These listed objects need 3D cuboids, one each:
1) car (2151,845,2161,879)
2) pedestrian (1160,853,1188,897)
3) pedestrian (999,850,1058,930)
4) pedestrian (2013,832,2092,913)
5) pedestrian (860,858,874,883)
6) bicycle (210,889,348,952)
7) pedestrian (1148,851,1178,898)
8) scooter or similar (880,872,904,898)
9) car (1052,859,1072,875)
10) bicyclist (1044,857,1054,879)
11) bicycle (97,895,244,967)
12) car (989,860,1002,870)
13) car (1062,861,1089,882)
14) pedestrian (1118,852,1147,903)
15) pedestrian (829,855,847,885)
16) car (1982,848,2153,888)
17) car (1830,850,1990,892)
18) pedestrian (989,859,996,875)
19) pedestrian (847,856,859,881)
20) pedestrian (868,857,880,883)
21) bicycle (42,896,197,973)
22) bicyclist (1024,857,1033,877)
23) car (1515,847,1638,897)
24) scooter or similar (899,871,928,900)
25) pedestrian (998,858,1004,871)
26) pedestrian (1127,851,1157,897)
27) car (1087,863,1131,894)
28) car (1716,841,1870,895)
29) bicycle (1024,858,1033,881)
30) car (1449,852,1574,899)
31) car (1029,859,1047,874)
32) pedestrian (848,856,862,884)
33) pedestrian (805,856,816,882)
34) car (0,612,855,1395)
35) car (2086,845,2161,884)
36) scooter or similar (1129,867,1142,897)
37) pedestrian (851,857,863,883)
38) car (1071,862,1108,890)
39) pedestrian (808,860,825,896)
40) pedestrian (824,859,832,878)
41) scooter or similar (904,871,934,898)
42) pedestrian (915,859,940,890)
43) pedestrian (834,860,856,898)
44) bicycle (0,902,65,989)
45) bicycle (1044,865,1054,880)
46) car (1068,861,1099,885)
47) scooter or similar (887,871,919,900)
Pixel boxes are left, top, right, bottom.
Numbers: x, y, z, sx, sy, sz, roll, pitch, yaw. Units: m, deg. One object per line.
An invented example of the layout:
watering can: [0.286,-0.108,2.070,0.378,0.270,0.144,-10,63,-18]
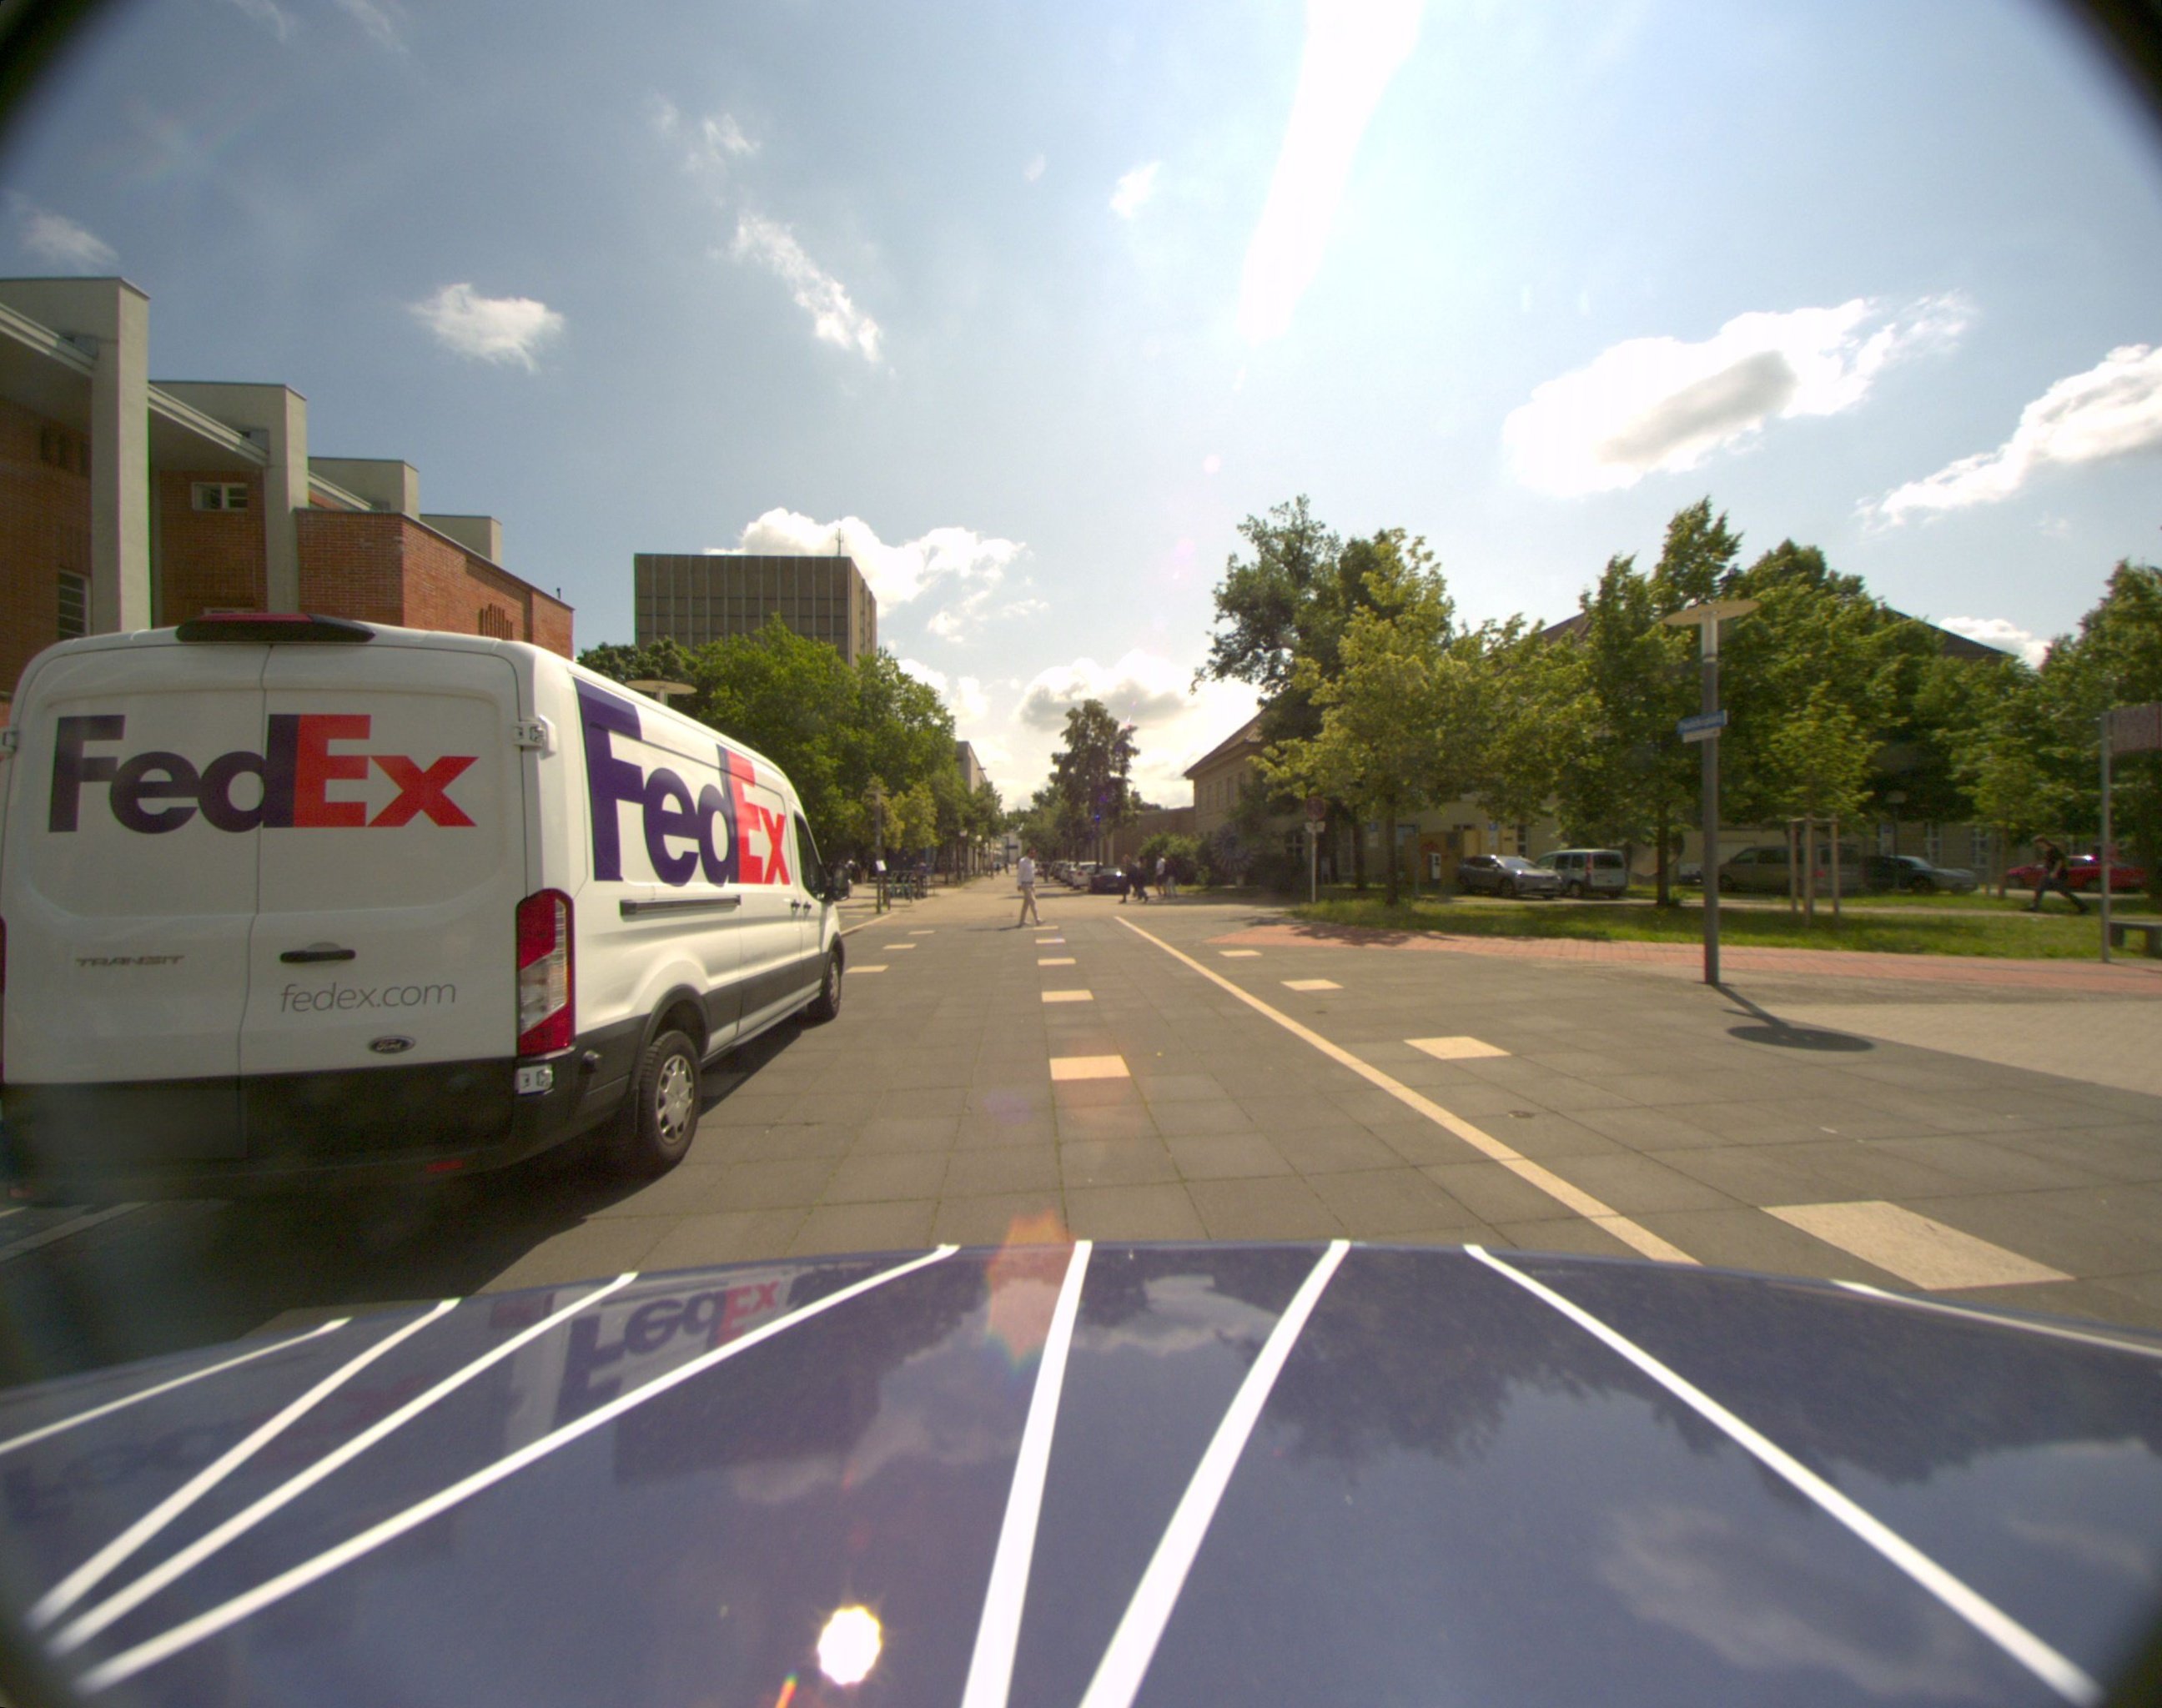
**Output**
car: [50.044,0.382,32.795,1.812,1.533,4.122,0,1,-5]
pedestrian: [3.659,0.828,29.910,0.970,1.706,0.559,0,0,26]
pedestrian: [-1.234,0.827,17.988,1.022,1.837,0.918,1,0,27]
pedestrian: [22.331,0.408,17.491,0.870,1.778,0.637,1,6,32]
pedestrian: [-14.126,1.072,50.145,0.752,1.663,0.844,0,0,-26]
bicycle: [-14.893,1.233,14.139,1.935,1.103,0.456,0,0,-6]
pedestrian: [3.134,0.786,29.185,0.898,1.776,0.728,0,0,33]
scooter or similar: [-8.708,1.409,35.053,0.575,1.172,1.479,0,-1,9]
car: [-2.092,1.362,82.323,1.933,1.624,4.371,-1,0,-3]
bicyclist: [-2.373,1.051,56.694,0.630,1.596,1.328,0,0,-6]
bicycle: [-14.763,1.238,12.337,1.699,1.103,0.435,0,0,-6]
car: [-14.460,1.785,128.697,1.999,1.647,3.998,0,0,-6]
car: [-0.429,1.246,55.096,1.718,1.424,3.999,-1,0,-3]
pedestrian: [1.827,0.819,26.842,0.871,1.776,0.570,0,0,20]
pedestrian: [-15.793,1.054,49.385,0.984,1.934,0.976,0,0,-26]
car: [41.561,0.548,32.180,1.811,1.533,4.123,0,1,-1]
car: [33.265,0.617,30.685,1.812,1.533,4.122,0,1,-5]
pedestrian: [-7.947,1.165,68.086,0.585,1.433,0.638,0,0,-3]
pedestrian: [-17.008,1.047,56.755,0.536,1.859,0.641,0,0,34]
pedestrian: [-14.259,1.092,52.263,0.623,1.729,0.773,0,0,-27]
bicycle: [-14.703,1.221,11.644,1.655,1.103,0.435,0,0,-6]
bicyclist: [-3.872,0.945,56.192,0.588,1.444,1.233,0,0,-3]
car: [19.047,0.631,29.443,1.812,1.775,4.122,0,1,-5]
scooter or similar: [-7.427,1.374,33.653,1.140,1.236,0.577,0,0,31]
pedestrian: [-10.302,1.375,97.697,0.536,1.672,0.587,0,0,34]
pedestrian: [2.315,0.738,28.819,0.623,1.706,1.002,0,0,-38]
car: [1.231,1.096,34.926,1.701,1.287,3.761,0,0,-3]
car: [28.130,0.475,30.259,1.811,1.948,4.526,0,1,-1]
bicycle: [-3.862,1.153,56.123,0.588,1.670,1.758,0,0,-2]
car: [16.494,0.762,29.446,1.899,1.572,4.647,0,1,-5]
car: [-4.770,1.342,84.174,1.933,1.624,4.371,-1,0,-3]
pedestrian: [-14.709,1.041,49.477,0.783,1.780,0.713,0,0,-25]
pedestrian: [-18.692,1.060,52.500,0.542,1.783,0.643,0,0,-32]
car: [-3.260,0.496,5.414,2.065,2.528,5.846,0,0,-6]
car: [46.421,0.442,32.288,1.812,1.657,4.122,0,1,-5]
scooter or similar: [2.213,1.126,31.065,0.470,1.209,1.205,0,0,1]
pedestrian: [-15.245,1.070,51.713,0.603,1.742,0.763,0,0,-28]
car: [0.422,1.149,40.807,1.635,1.422,3.631,-1,0,-4]
pedestrian: [-12.822,1.159,36.828,0.669,1.755,0.797,-1,-1,-16]
pedestrian: [-20.844,1.159,62.604,0.640,1.548,0.574,0,0,-19]
scooter or similar: [-7.363,1.378,34.467,1.261,1.225,0.577,0,-1,31]
pedestrian: [-8.797,1.162,43.529,0.985,1.776,1.092,0,0,-39]
pedestrian: [-10.818,1.128,34.850,0.785,1.666,1.078,0,1,-10]
bicycle: [-14.684,1.212,10.014,1.802,1.103,0.435,0,0,-6]
bicycle: [-2.372,1.370,56.695,0.626,1.134,1.811,0,0,-6]
car: [0.102,1.160,46.828,1.649,1.368,3.999,-1,0,-3]
scooter or similar: [-7.706,1.353,32.899,1.353,1.223,0.577,0,-1,31]
